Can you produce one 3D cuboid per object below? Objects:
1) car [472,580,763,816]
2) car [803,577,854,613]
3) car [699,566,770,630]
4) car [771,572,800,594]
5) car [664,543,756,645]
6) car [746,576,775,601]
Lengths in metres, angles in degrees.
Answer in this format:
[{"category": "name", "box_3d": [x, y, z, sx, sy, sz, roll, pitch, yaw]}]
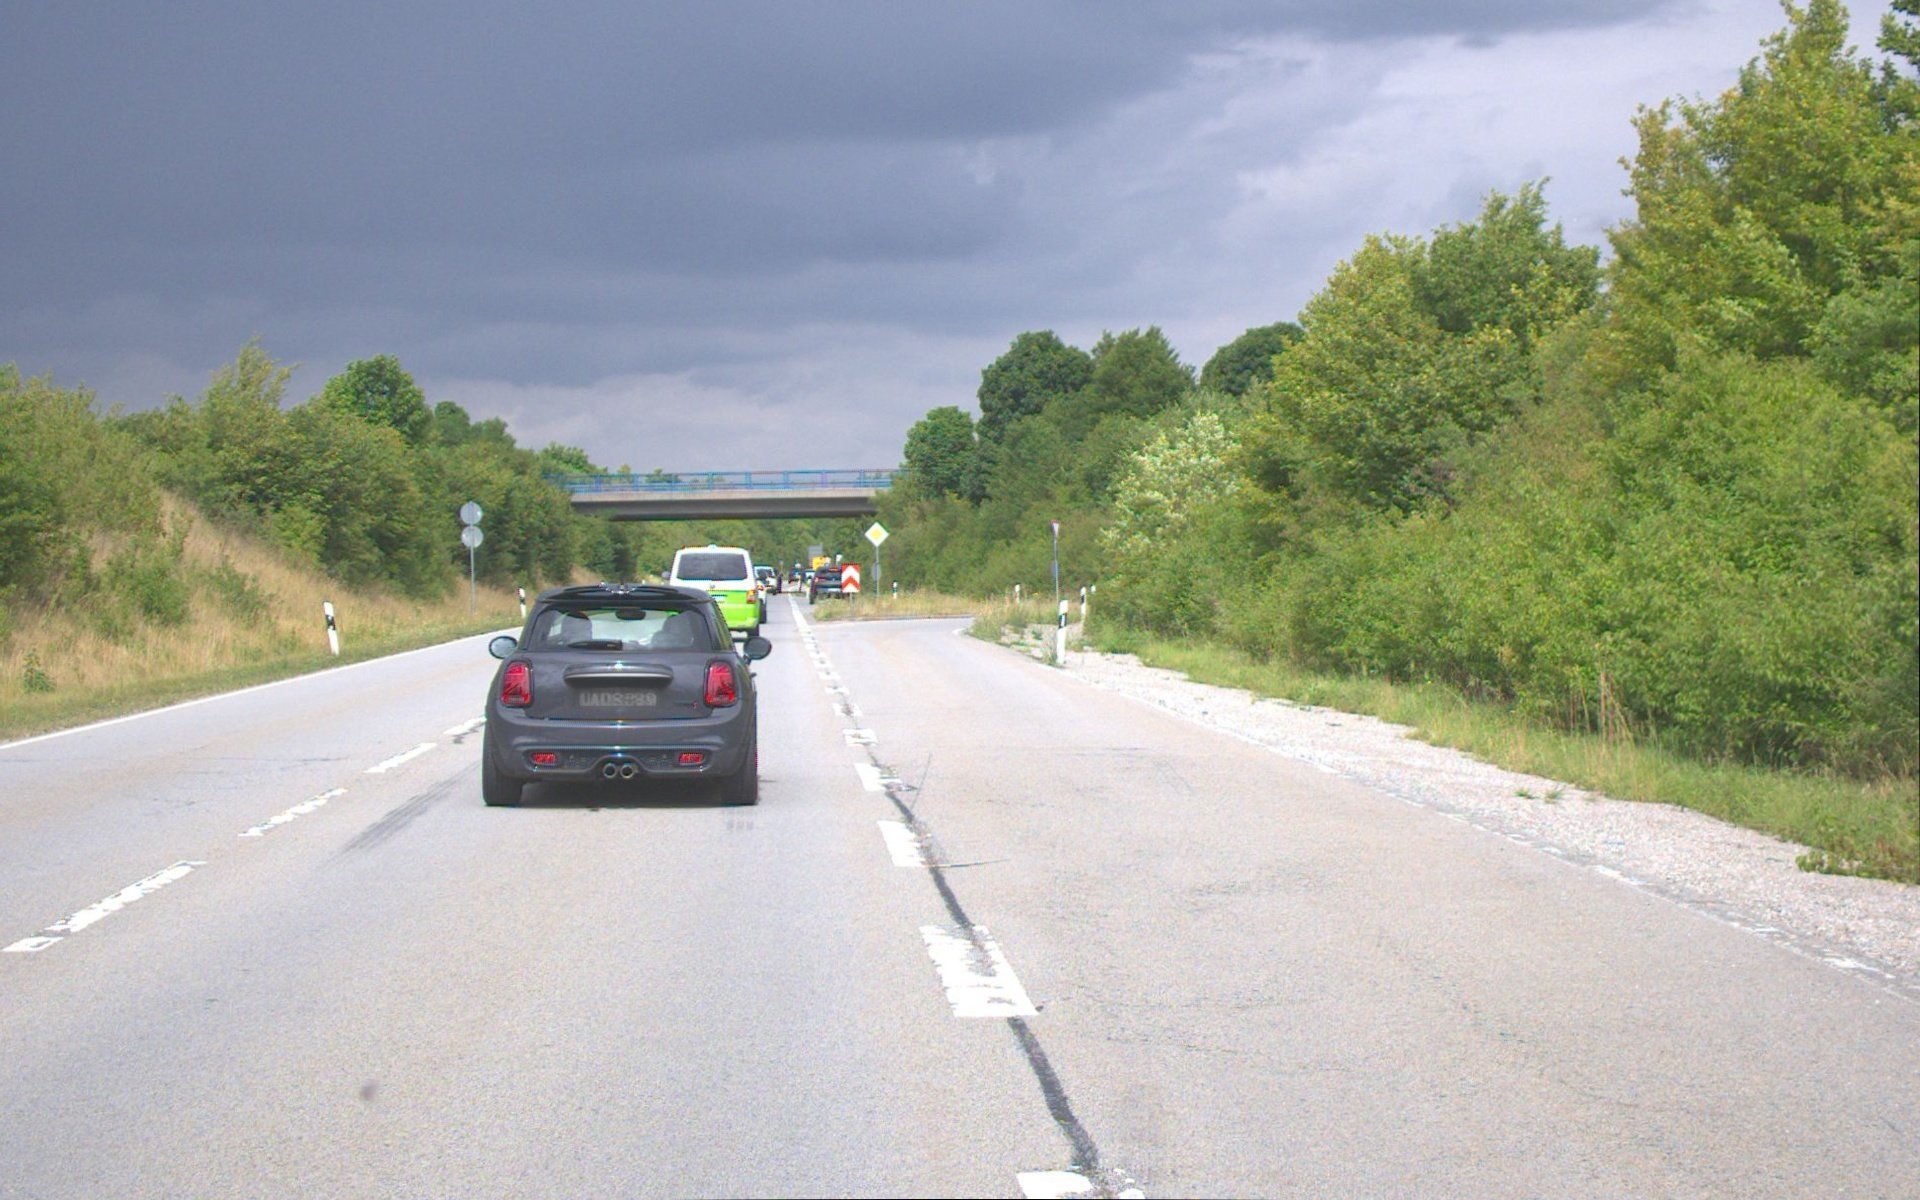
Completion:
[{"category": "car", "box_3d": [-2.219, 0.590, 23.142, 1.756, 1.422, 4.000, 1, 0, -3]}, {"category": "car", "box_3d": [-5.722, -0.225, 149.230, 1.993, 1.547, 4.001, 1, 0, -5]}, {"category": "car", "box_3d": [-6.298, -0.061, 96.424, 1.818, 1.744, 4.000, 0, 0, -2]}, {"category": "car", "box_3d": [-11.303, -1.116, 222.714, 1.667, 1.398, 4.000, 0, 1, 0]}, {"category": "car", "box_3d": [-5.191, -0.132, 71.719, 1.819, 2.047, 4.000, 1, 0, -3]}, {"category": "car", "box_3d": [-11.761, -0.688, 202.515, 1.667, 1.398, 4.000, 0, 1, -3]}]
